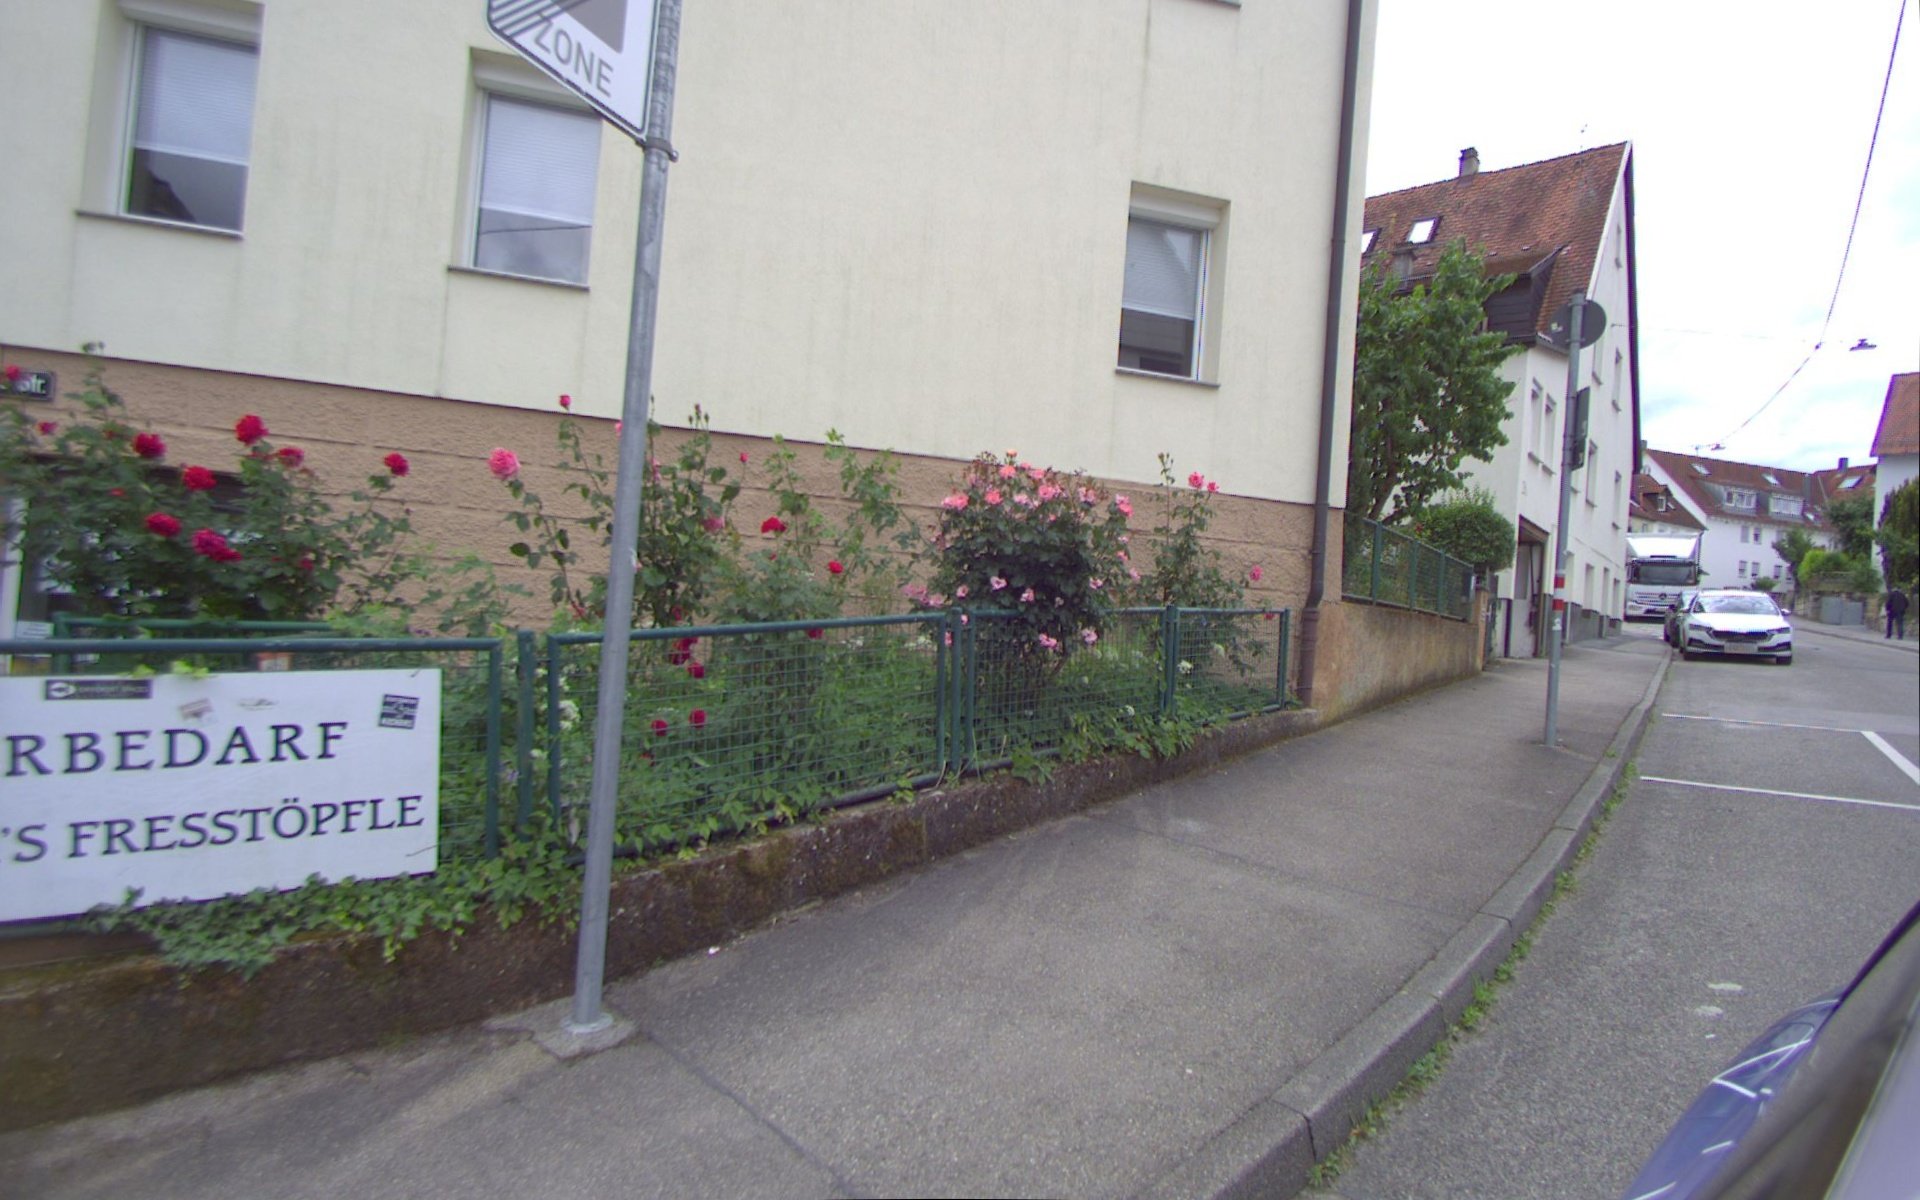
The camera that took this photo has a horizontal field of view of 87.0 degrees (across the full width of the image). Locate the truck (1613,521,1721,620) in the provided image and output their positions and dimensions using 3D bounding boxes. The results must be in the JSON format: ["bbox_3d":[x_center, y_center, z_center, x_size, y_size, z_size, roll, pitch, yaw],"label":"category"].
[{"bbox_3d":[28.887,-1.238,41.684,2.661,3.641,8.024,3,2,29],"label":"truck"}]

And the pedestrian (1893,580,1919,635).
[{"bbox_3d":[30.114,0.228,31.894,0.836,1.698,0.966,0,1,31],"label":"pedestrian"}]

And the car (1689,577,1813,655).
[{"bbox_3d":[16.740,0.255,21.600,1.788,1.463,4.245,1,2,34],"label":"car"}]

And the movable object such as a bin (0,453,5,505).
[{"bbox_3d":[-9.843,-0.224,7.726,1.539,2.531,4.685,6,0,-16],"label":"movable object such as a bin"}]
